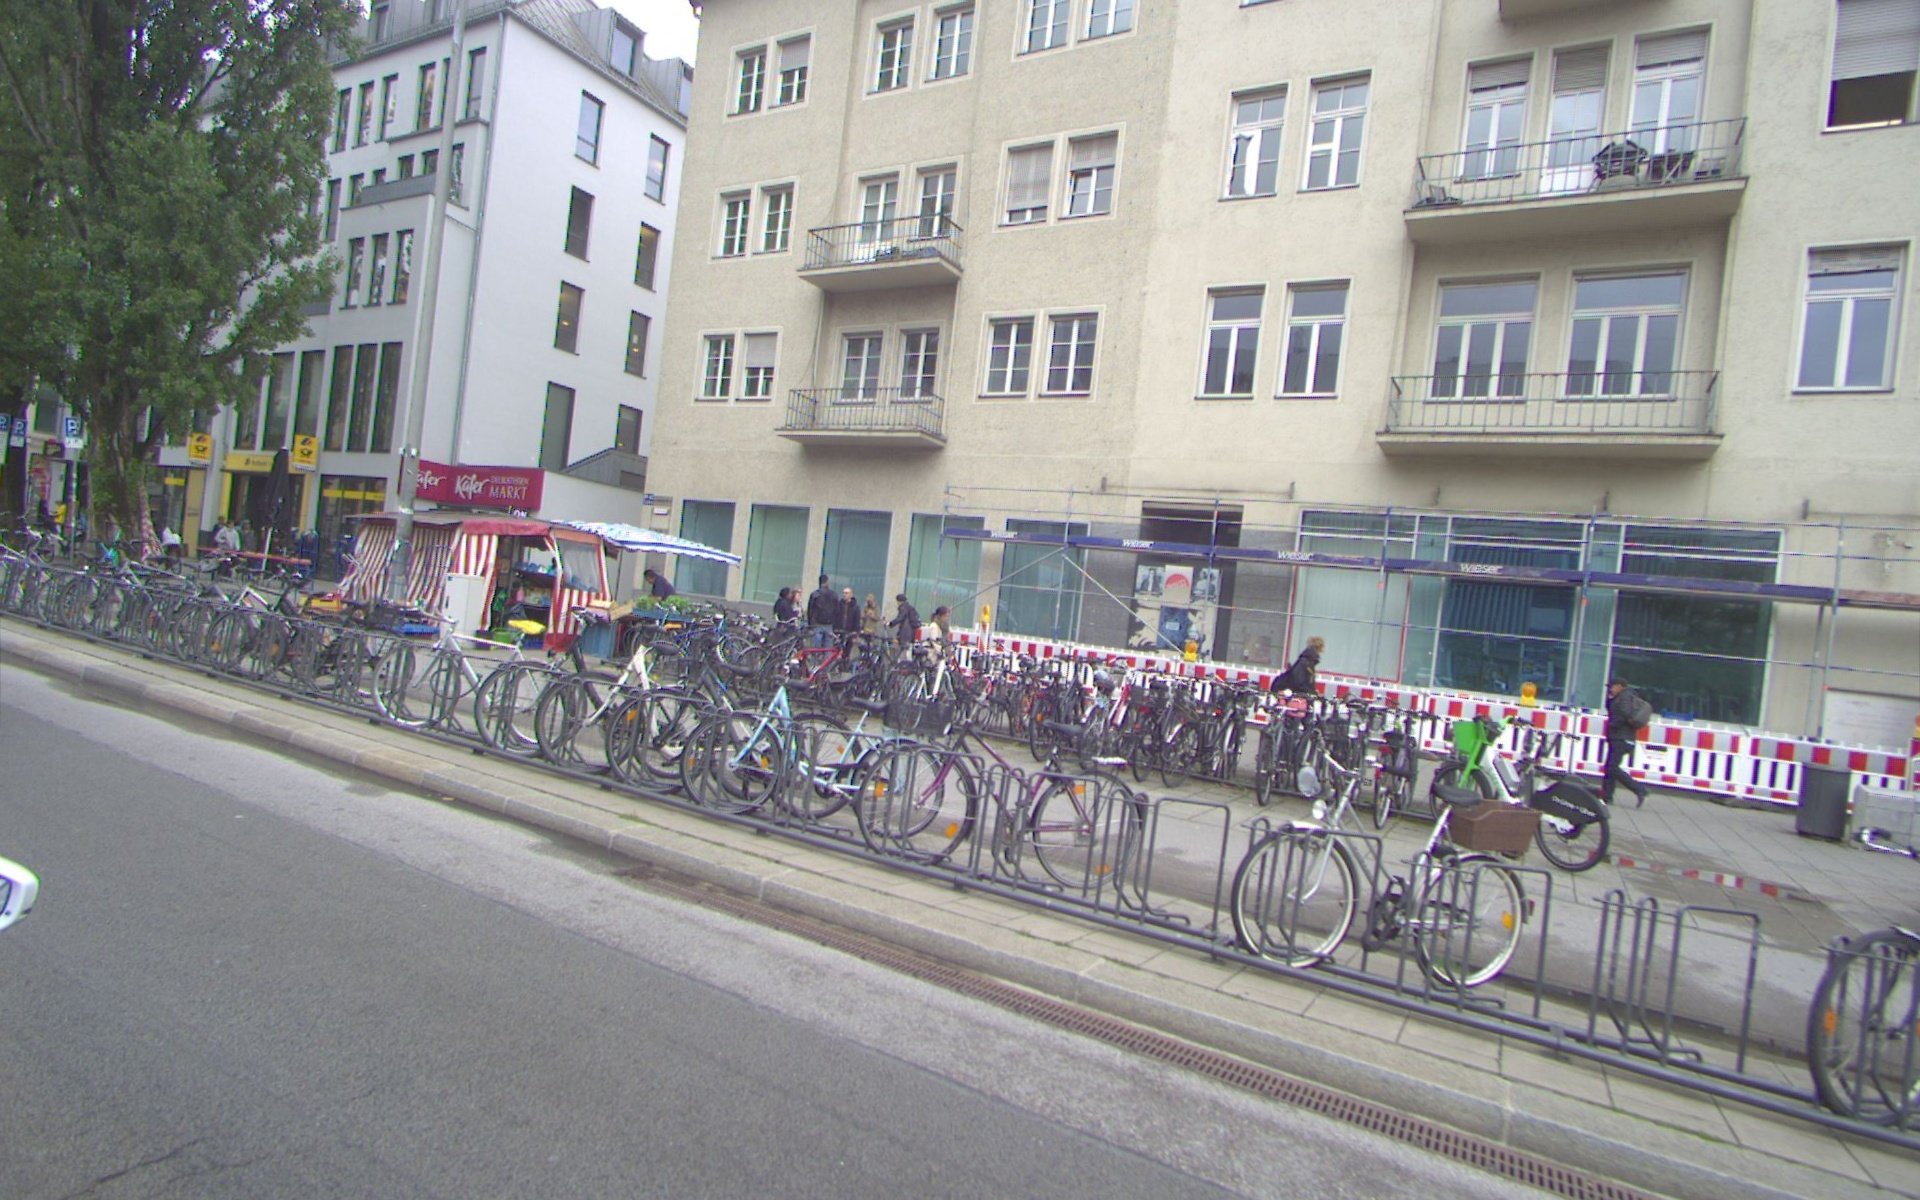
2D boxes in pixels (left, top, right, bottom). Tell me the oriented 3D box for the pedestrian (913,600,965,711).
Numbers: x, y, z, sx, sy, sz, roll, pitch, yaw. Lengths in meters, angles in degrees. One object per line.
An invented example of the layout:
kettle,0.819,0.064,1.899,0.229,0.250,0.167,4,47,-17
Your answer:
pedestrian,-0.317,0.841,15.389,0.526,1.602,0.662,7,1,7

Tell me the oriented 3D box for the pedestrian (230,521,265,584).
pedestrian,-20.718,-1.383,29.236,0.588,1.723,0.579,7,1,39

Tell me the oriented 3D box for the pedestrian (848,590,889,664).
pedestrian,-2.080,0.615,22.880,0.598,1.623,0.465,7,1,28

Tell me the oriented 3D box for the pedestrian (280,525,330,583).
pedestrian,-20.412,-1.435,31.354,1.006,1.657,0.800,7,1,31

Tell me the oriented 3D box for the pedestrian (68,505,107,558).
pedestrian,-30.384,-2.386,35.055,0.711,1.746,0.736,6,1,-22

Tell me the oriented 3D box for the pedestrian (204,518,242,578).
pedestrian,-20.991,-1.479,28.647,0.625,1.603,0.641,7,1,39

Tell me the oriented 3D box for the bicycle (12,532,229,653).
bicycle,-9.724,-0.070,11.715,1.779,1.065,0.365,11,-2,-21

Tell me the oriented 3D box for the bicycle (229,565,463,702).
bicycle,-5.954,0.342,9.850,1.779,1.021,0.384,11,-2,-21

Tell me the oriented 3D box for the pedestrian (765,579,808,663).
pedestrian,-3.698,0.453,21.458,0.496,1.693,0.540,6,-1,30

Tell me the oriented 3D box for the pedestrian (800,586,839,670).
pedestrian,-2.910,0.587,20.852,0.463,1.692,0.527,6,-1,10

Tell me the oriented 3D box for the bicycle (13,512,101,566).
bicycle,-24.021,-1.612,26.770,0.696,1.174,1.625,7,-1,44

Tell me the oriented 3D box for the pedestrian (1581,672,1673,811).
pedestrian,8.672,1.814,13.094,0.821,1.652,0.563,7,1,34

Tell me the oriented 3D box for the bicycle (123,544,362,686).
bicycle,-7.308,0.171,10.344,1.779,1.117,0.544,11,-2,-21

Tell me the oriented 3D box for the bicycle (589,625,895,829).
bicycle,-1.445,0.863,6.810,1.825,1.070,0.396,11,-2,-14

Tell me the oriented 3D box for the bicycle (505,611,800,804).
bicycle,-2.156,0.769,7.204,1.825,1.070,0.396,11,-2,-14

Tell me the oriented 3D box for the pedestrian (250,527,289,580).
pedestrian,-20.839,-1.388,30.374,0.640,1.493,0.756,7,-1,-21

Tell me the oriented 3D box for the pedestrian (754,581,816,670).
pedestrian,-3.250,0.482,18.679,0.717,1.547,0.677,7,1,33

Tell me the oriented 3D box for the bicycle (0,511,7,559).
bicycle,-23.736,-1.609,24.596,0.476,1.174,1.803,7,0,-42

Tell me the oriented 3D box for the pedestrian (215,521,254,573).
pedestrian,-23.962,-1.744,33.226,0.760,1.605,0.691,7,1,31

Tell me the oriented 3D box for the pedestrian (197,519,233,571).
pedestrian,-25.486,-1.883,34.410,0.787,1.669,0.690,7,1,40

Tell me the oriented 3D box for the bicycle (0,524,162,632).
bicycle,-11.458,-0.282,12.840,1.779,1.065,0.544,11,-2,-21

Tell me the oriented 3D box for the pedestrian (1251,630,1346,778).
pedestrian,4.286,1.298,12.772,0.693,1.730,0.738,6,1,-10

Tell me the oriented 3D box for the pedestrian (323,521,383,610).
pedestrian,-13.247,-0.748,21.969,0.563,1.816,0.793,6,-1,37

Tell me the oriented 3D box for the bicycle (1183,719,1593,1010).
bicycle,2.031,1.255,4.772,1.768,1.150,0.488,8,-1,-15

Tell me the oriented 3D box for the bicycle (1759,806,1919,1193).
bicycle,3.877,1.443,3.761,1.771,1.150,0.487,8,-1,-21

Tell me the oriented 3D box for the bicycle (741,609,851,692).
bicycle,-2.366,0.761,14.690,0.404,1.117,1.627,7,1,39

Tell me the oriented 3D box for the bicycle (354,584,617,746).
bicycle,-3.817,0.540,8.224,1.779,1.021,0.384,11,-2,-21

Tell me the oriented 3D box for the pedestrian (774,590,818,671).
pedestrian,-3.314,0.620,20.357,0.458,1.558,0.560,6,-1,32

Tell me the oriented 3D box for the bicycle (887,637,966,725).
bicycle,-0.430,1.065,13.552,0.403,1.091,1.452,6,0,22

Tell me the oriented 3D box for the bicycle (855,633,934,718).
bicycle,-0.884,1.028,14.001,0.403,1.091,1.452,6,0,22

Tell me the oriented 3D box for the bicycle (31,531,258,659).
bicycle,-9.212,-0.039,11.447,1.779,1.117,0.544,11,-2,-21

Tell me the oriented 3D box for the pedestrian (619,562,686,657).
pedestrian,-5.852,0.185,19.178,0.717,1.694,0.794,7,1,30

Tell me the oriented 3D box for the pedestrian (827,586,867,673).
pedestrian,-2.161,0.555,19.174,0.544,1.584,0.652,6,1,-10

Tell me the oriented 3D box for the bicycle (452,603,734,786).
bicycle,-2.689,0.714,7.492,1.779,1.070,0.396,11,-2,-21

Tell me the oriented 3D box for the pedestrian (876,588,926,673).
pedestrian,-1.218,0.629,20.933,0.750,1.671,0.603,7,1,9

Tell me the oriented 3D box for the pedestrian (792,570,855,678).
pedestrian,-2.466,0.443,18.258,0.716,1.851,0.718,7,1,17
